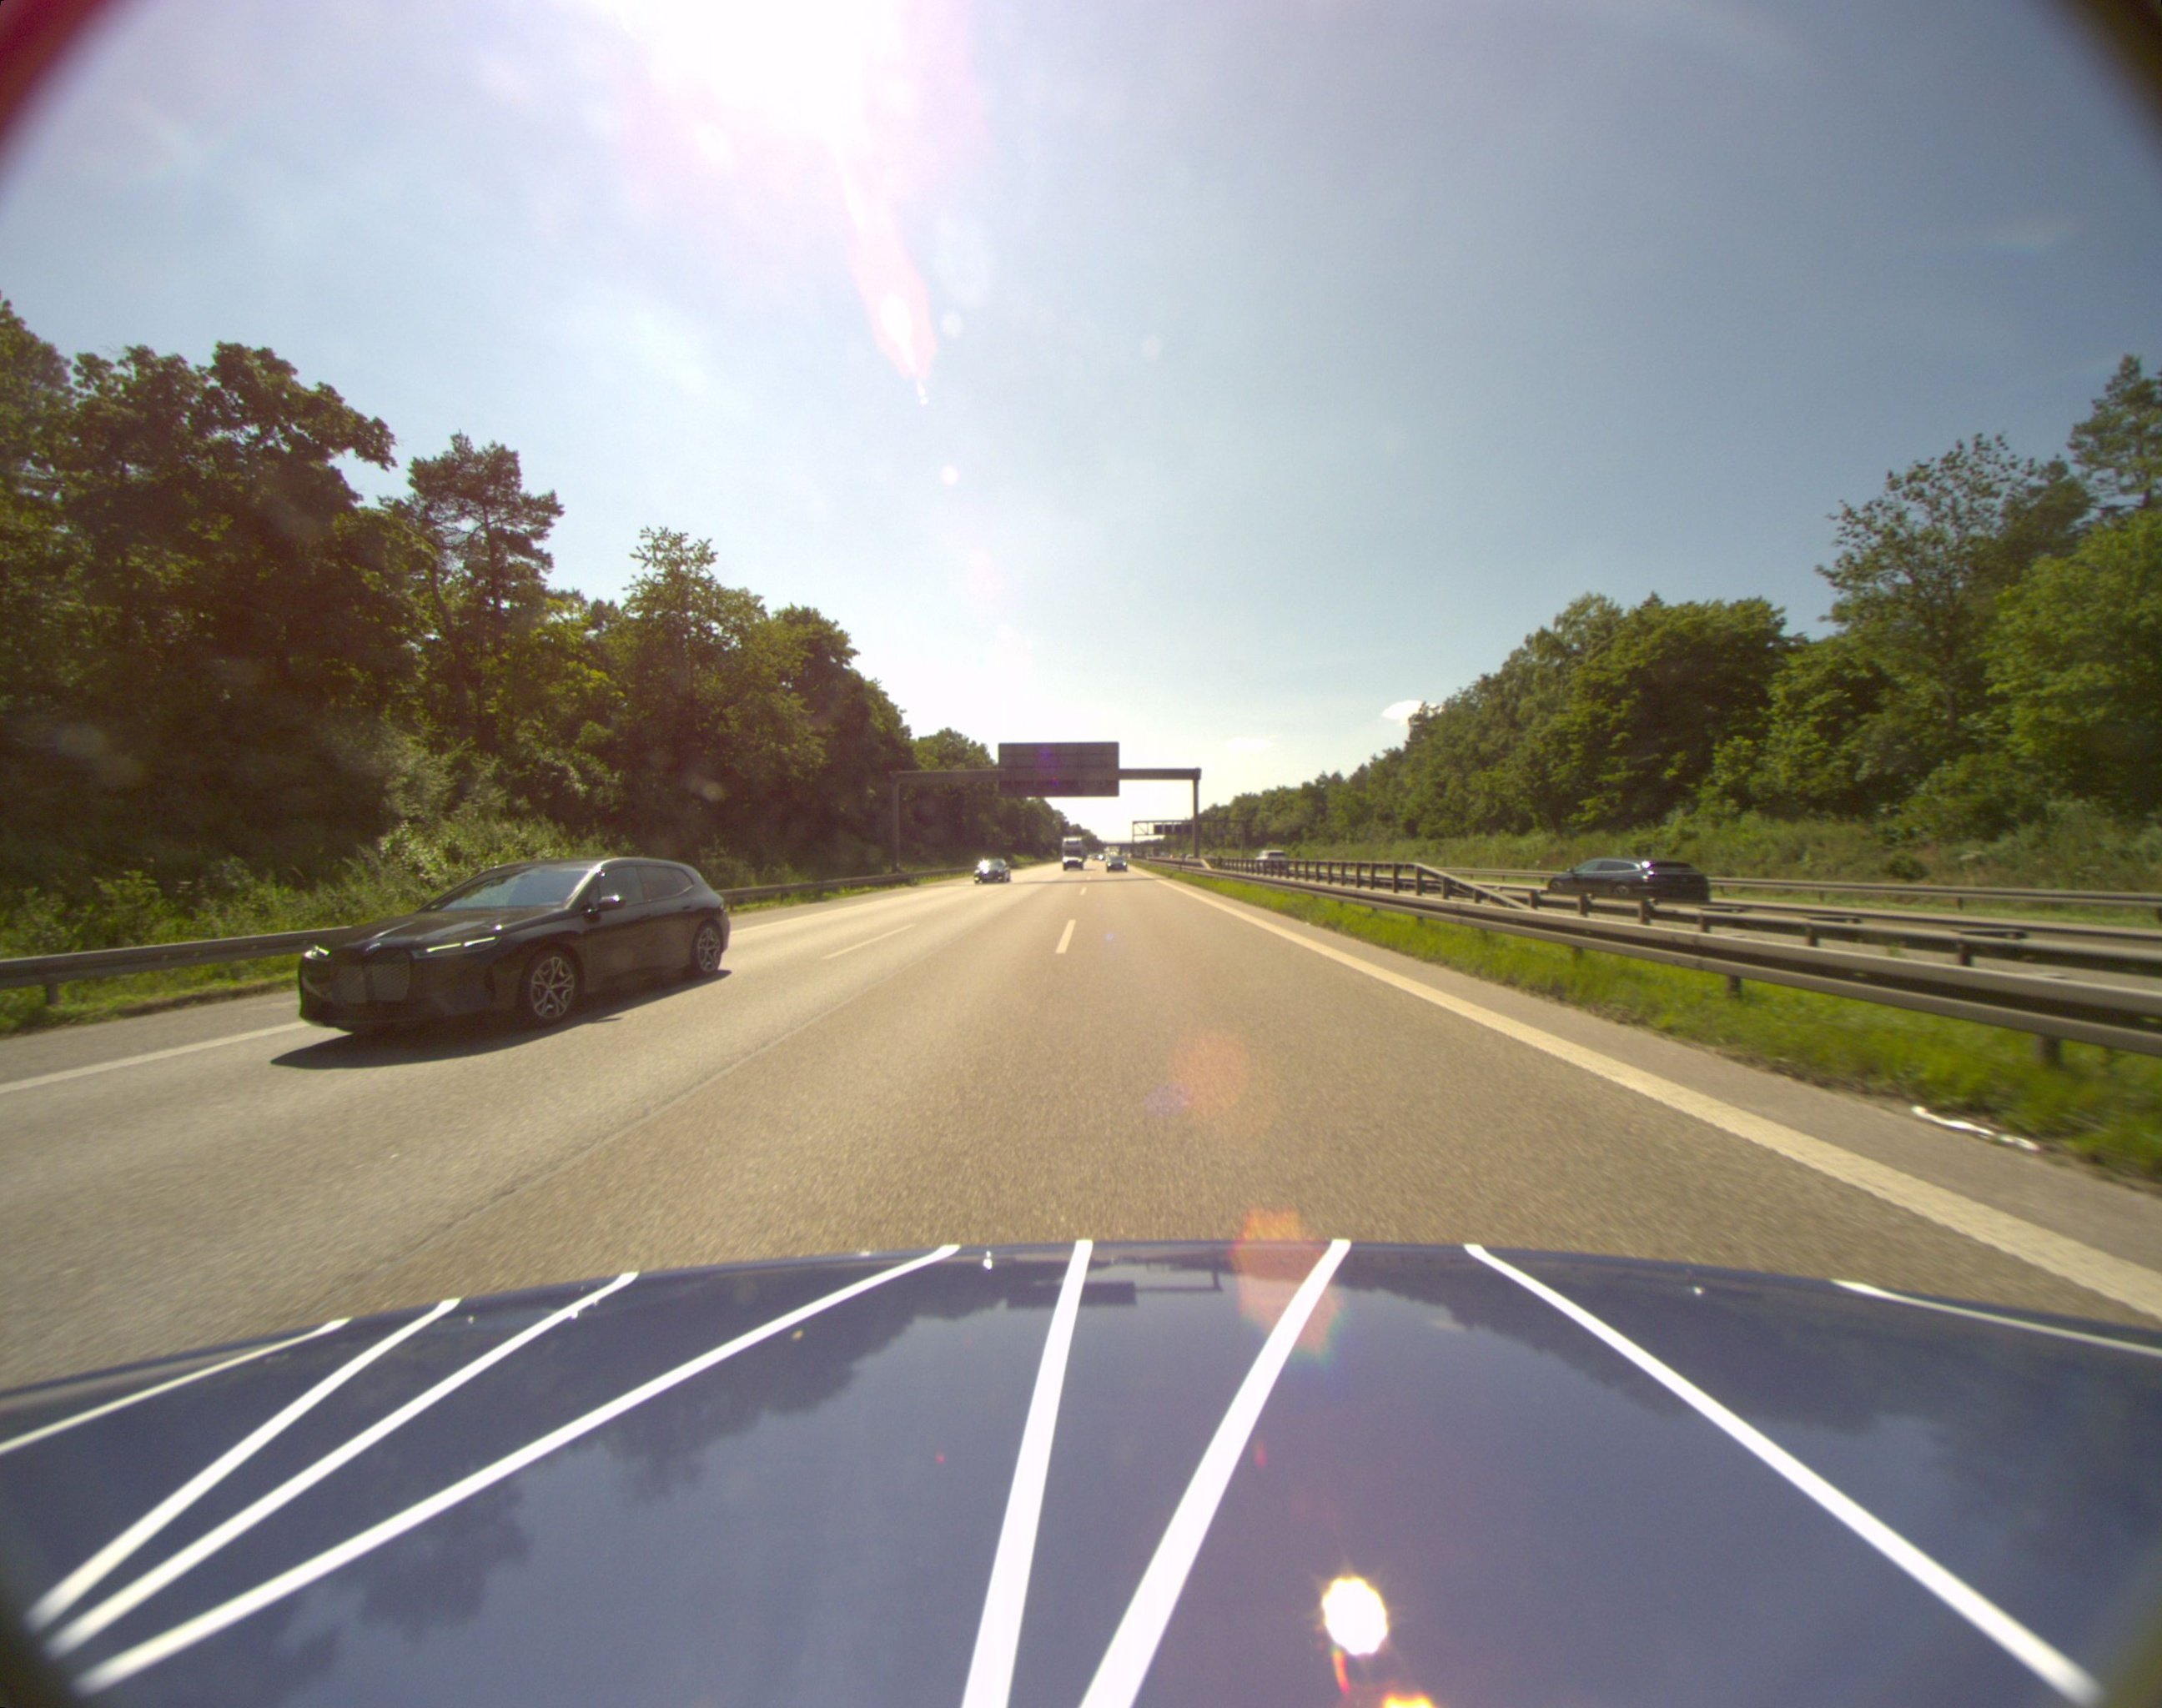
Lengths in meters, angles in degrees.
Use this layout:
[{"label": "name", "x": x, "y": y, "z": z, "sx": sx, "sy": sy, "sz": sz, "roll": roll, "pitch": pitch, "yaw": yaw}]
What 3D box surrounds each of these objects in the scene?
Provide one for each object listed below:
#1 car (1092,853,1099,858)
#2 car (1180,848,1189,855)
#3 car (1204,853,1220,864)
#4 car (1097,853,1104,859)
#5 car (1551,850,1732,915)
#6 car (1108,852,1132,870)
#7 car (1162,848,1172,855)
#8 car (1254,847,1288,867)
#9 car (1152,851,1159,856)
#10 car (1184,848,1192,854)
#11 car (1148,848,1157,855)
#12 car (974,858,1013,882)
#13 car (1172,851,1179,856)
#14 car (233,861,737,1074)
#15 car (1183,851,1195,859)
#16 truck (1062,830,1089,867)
[{"label": "car", "x": 3.792, "y": 0.295, "z": 197.714, "sx": 1.831, "sy": 1.346, "sz": 3.679, "roll": 0, "pitch": 0, "yaw": 1}, {"label": "car", "x": 24.604, "y": -0.568, "z": 181.064, "sx": 1.542, "sy": 1.486, "sz": 3.389, "roll": -1, "pitch": 0, "yaw": 0}, {"label": "car", "x": 18.057, "y": 0.640, "z": 105.071, "sx": 1.599, "sy": 1.434, "sz": 3.542, "roll": 1, "pitch": 0, "yaw": 0}, {"label": "car", "x": 4.723, "y": 0.504, "z": 184.695, "sx": 1.831, "sy": 1.346, "sz": 3.679, "roll": 0, "pitch": 0, "yaw": 1}, {"label": "car", "x": 15.176, "y": 0.688, "z": 20.943, "sx": 1.760, "sy": 1.559, "sz": 4.429, "roll": 1, "pitch": 0, "yaw": 1}, {"label": "car", "x": 3.349, "y": 0.580, "z": 65.419, "sx": 1.814, "sy": 1.483, "sz": 3.728, "roll": -1, "pitch": 0, "yaw": 0}, {"label": "car", "x": 20.516, "y": -0.604, "z": 182.323, "sx": 1.949, "sy": 1.701, "sz": 3.796, "roll": -1, "pitch": 0, "yaw": 0}, {"label": "car", "x": 16.569, "y": 0.258, "z": 66.514, "sx": 1.782, "sy": 1.624, "sz": 5.540, "roll": 1, "pitch": 0, "yaw": 2}, {"label": "car", "x": 21.331, "y": -0.265, "z": 217.810, "sx": 1.776, "sy": 1.405, "sz": 3.844, "roll": 2, "pitch": 0, "yaw": 0}, {"label": "car", "x": 24.992, "y": -0.606, "z": 177.203, "sx": 1.442, "sy": 1.354, "sz": 2.726, "roll": -1, "pitch": 0, "yaw": 0}, {"label": "car", "x": 17.401, "y": -0.586, "z": 185.109, "sx": 1.749, "sy": 1.701, "sz": 3.242, "roll": -1, "pitch": 0, "yaw": 0}, {"label": "car", "x": -5.441, "y": 0.980, "z": 47.533, "sx": 1.916, "sy": 1.390, "sz": 4.137, "roll": -1, "pitch": 0, "yaw": 0}, {"label": "car", "x": 25.548, "y": -0.140, "z": 205.366, "sx": 1.504, "sy": 1.462, "sz": 3.399, "roll": 0, "pitch": 0, "yaw": 1}, {"label": "car", "x": -6.086, "y": 0.983, "z": 8.748, "sx": 1.924, "sy": 1.659, "sz": 4.687, "roll": -2, "pitch": 0, "yaw": 2}, {"label": "car", "x": 19.008, "y": 0.157, "z": 133.423, "sx": 1.599, "sy": 1.434, "sz": 3.542, "roll": 1, "pitch": 0, "yaw": 0}, {"label": "truck", "x": -0.560, "y": -0.527, "z": 79.247, "sx": 2.676, "sy": 3.661, "sz": 6.483, "roll": -1, "pitch": 0, "yaw": 0}]
